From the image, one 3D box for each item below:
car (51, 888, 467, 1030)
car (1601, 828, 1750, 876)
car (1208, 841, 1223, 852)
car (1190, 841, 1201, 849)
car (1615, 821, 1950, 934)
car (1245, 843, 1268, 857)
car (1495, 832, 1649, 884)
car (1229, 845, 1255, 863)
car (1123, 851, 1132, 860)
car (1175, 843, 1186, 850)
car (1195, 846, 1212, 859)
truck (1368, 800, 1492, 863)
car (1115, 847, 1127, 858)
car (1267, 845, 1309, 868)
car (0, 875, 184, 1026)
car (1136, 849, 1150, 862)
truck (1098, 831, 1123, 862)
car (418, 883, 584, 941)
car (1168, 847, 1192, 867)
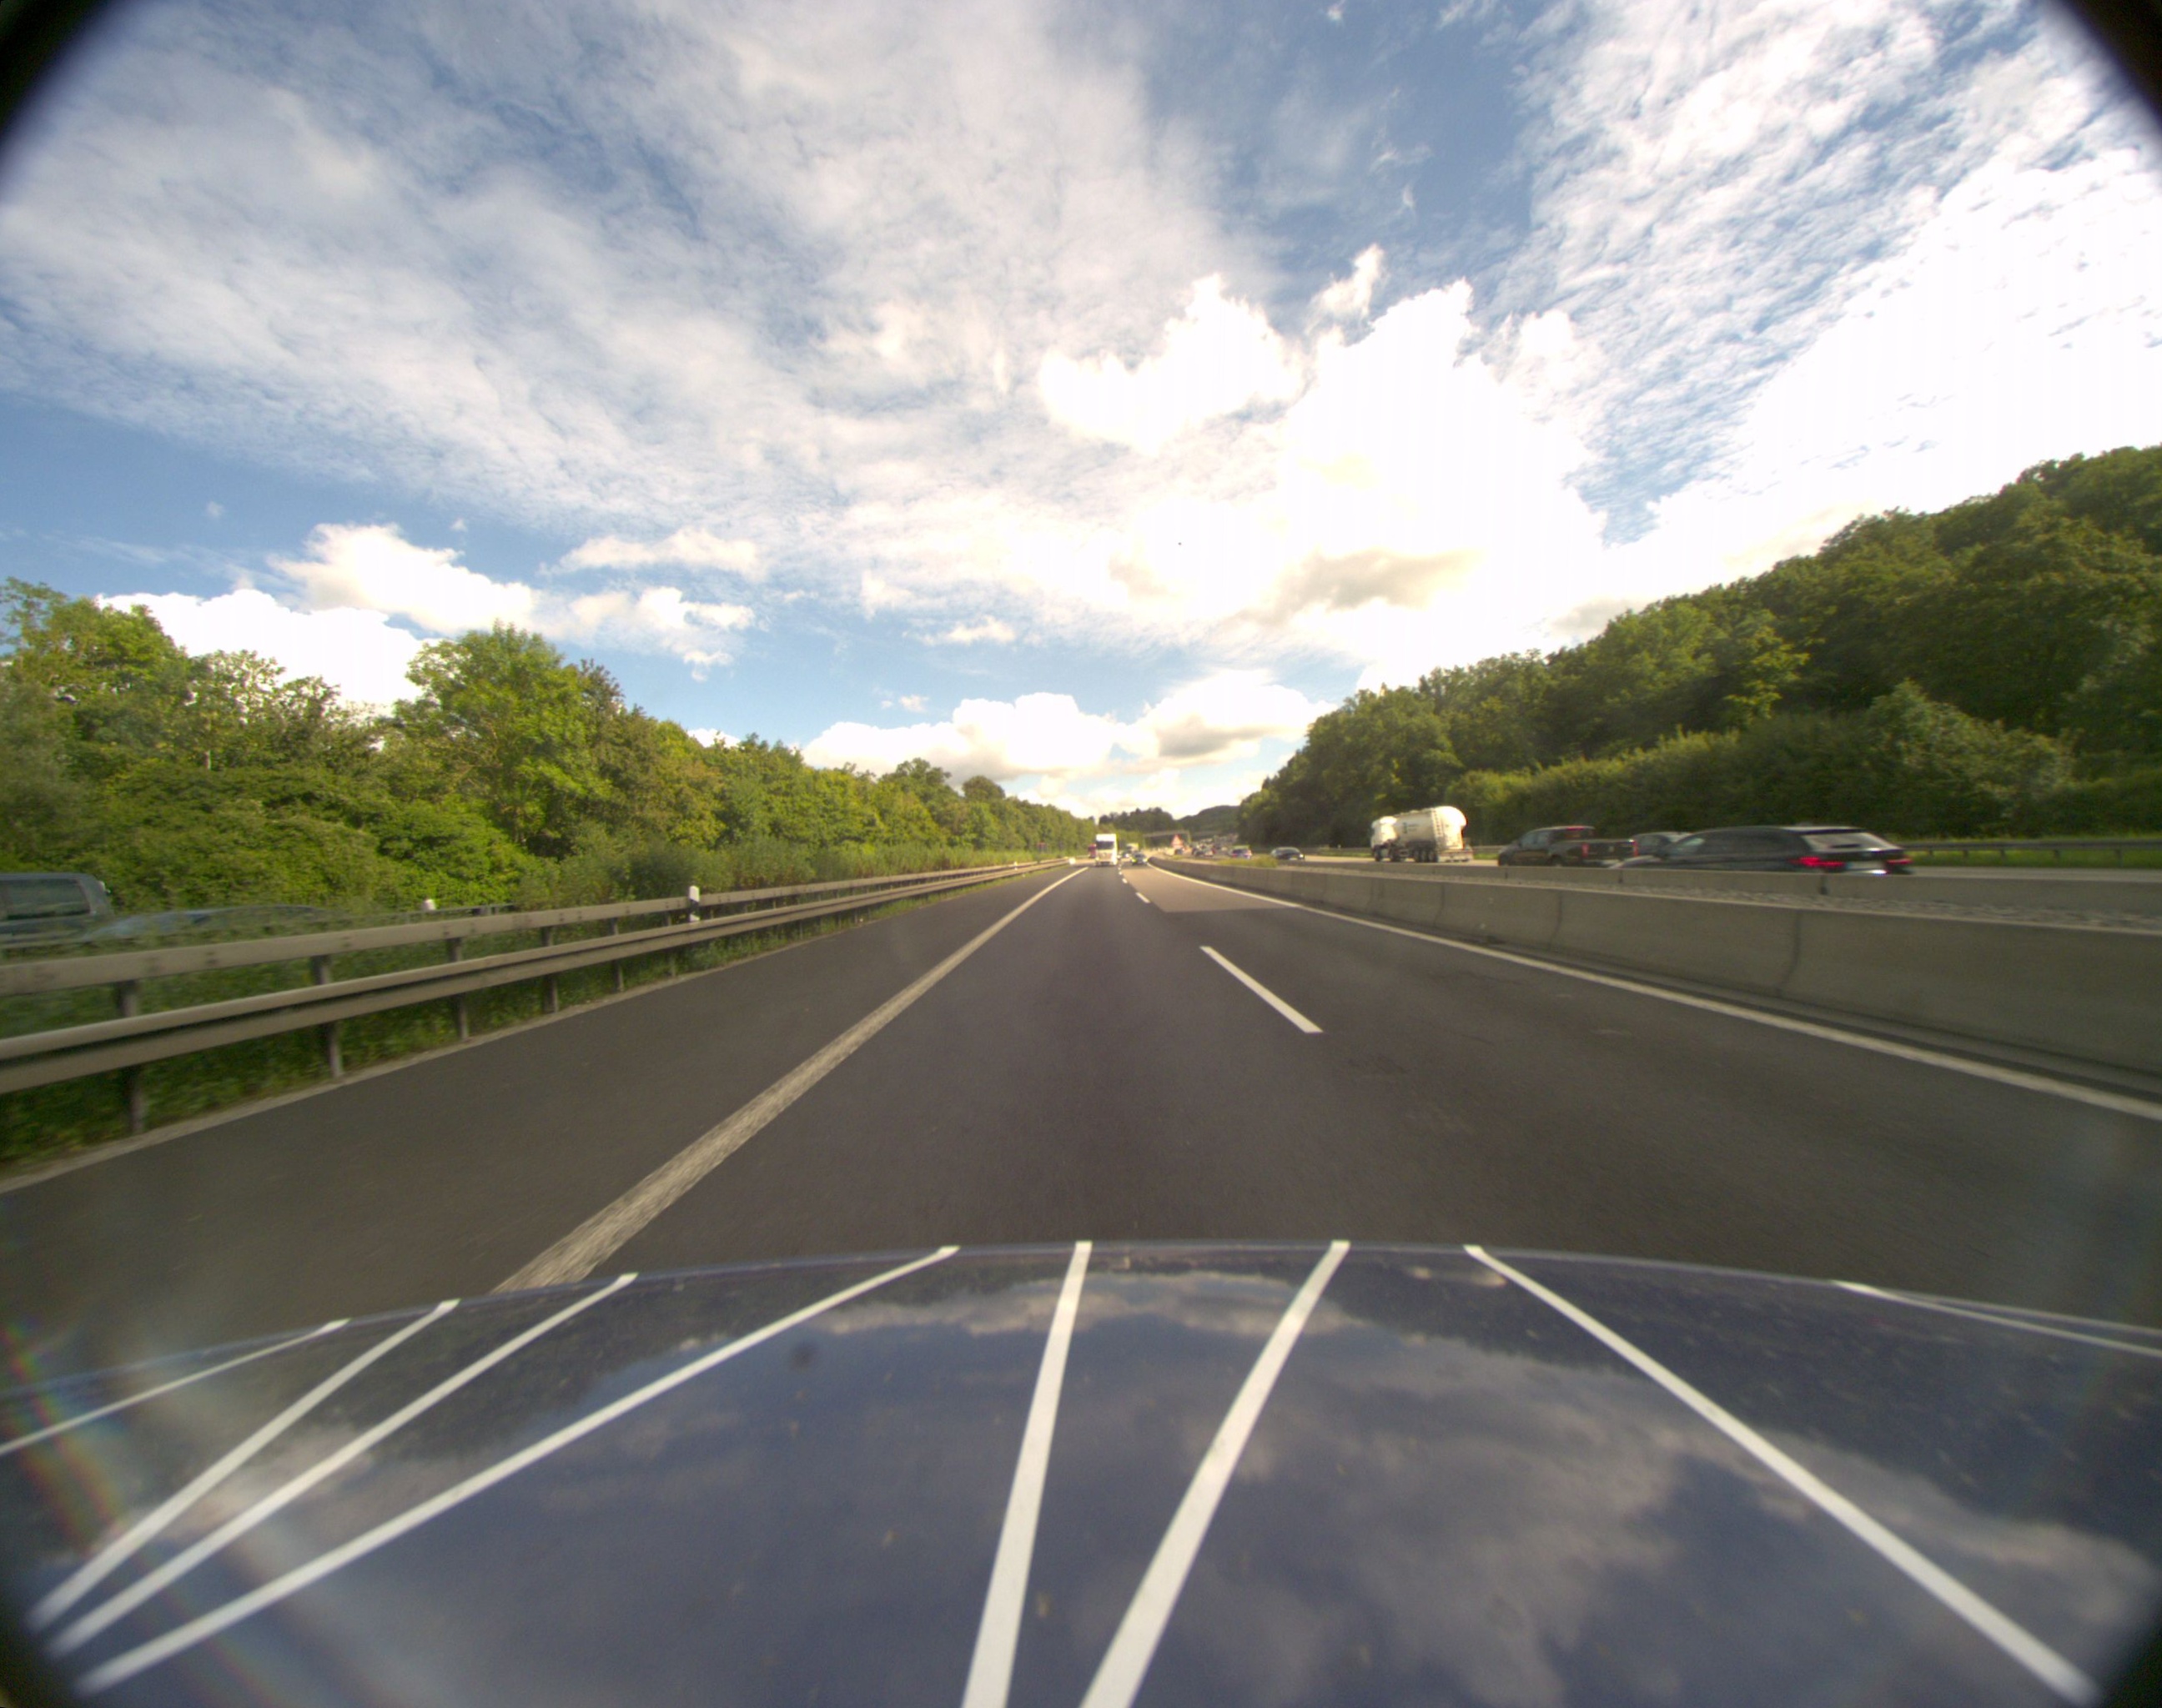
[{"bbox_3d":[-11.851,1.393,11.453,1.771,1.501,4.000,-3,0,2],"label":"car"},{"bbox_3d":[20.646,-0.079,26.660,1.905,1.456,4.342,-3,0,2],"label":"car"},{"bbox_3d":[23.668,-1.315,133.782,2.104,1.743,4.001,-3,0,4],"label":"car"},{"bbox_3d":[25.805,-1.943,171.367,2.104,1.743,4.001,-3,0,4],"label":"car"},{"bbox_3d":[11.972,0.344,13.503,1.806,1.597,4.482,-3,0,0],"label":"car"},{"bbox_3d":[20.673,-0.519,89.540,1.837,1.522,4.548,-3,0,3],"label":"car"},{"bbox_3d":[16.326,0.102,25.661,2.041,1.484,5.040,-3,0,2],"label":"car"},{"bbox_3d":[14.477,-0.034,68.348,1.601,1.521,3.843,-3,0,2],"label":"car"},{"bbox_3d":[10.372,0.308,169.929,1.998,2.002,4.000,-2,1,2],"label":"car"},{"bbox_3d":[23.363,-1.748,178.212,2.125,1.743,4.001,-3,0,4],"label":"car"},{"bbox_3d":[15.579,-0.185,96.542,1.601,1.489,4.064,-3,0,2],"label":"car"},{"bbox_3d":[26.133,-1.633,58.063,3.458,4.103,13.679,-2,1,2],"label":"truck"},{"bbox_3d":[7.074,-0.325,135.564,1.998,1.798,3.809,-2,0,3],"label":"car"},{"bbox_3d":[14.407,0.126,53.193,1.771,1.469,4.539,-3,0,2],"label":"car"},{"bbox_3d":[-15.800,1.394,10.012,1.998,2.002,4.909,-3,0,1],"label":"car"},{"bbox_3d":[7.583,0.156,92.725,1.662,1.464,4.001,-2,0,5],"label":"car"},{"bbox_3d":[3.875,-0.995,98.063,2.796,3.562,11.459,-2,1,4],"label":"truck"},{"bbox_3d":[-19.544,1.881,25.948,1.771,1.501,4.871,-3,0,2],"label":"car"},{"bbox_3d":[10.495,0.299,80.668,1.998,2.022,4.000,-2,0,2],"label":"car"}]
